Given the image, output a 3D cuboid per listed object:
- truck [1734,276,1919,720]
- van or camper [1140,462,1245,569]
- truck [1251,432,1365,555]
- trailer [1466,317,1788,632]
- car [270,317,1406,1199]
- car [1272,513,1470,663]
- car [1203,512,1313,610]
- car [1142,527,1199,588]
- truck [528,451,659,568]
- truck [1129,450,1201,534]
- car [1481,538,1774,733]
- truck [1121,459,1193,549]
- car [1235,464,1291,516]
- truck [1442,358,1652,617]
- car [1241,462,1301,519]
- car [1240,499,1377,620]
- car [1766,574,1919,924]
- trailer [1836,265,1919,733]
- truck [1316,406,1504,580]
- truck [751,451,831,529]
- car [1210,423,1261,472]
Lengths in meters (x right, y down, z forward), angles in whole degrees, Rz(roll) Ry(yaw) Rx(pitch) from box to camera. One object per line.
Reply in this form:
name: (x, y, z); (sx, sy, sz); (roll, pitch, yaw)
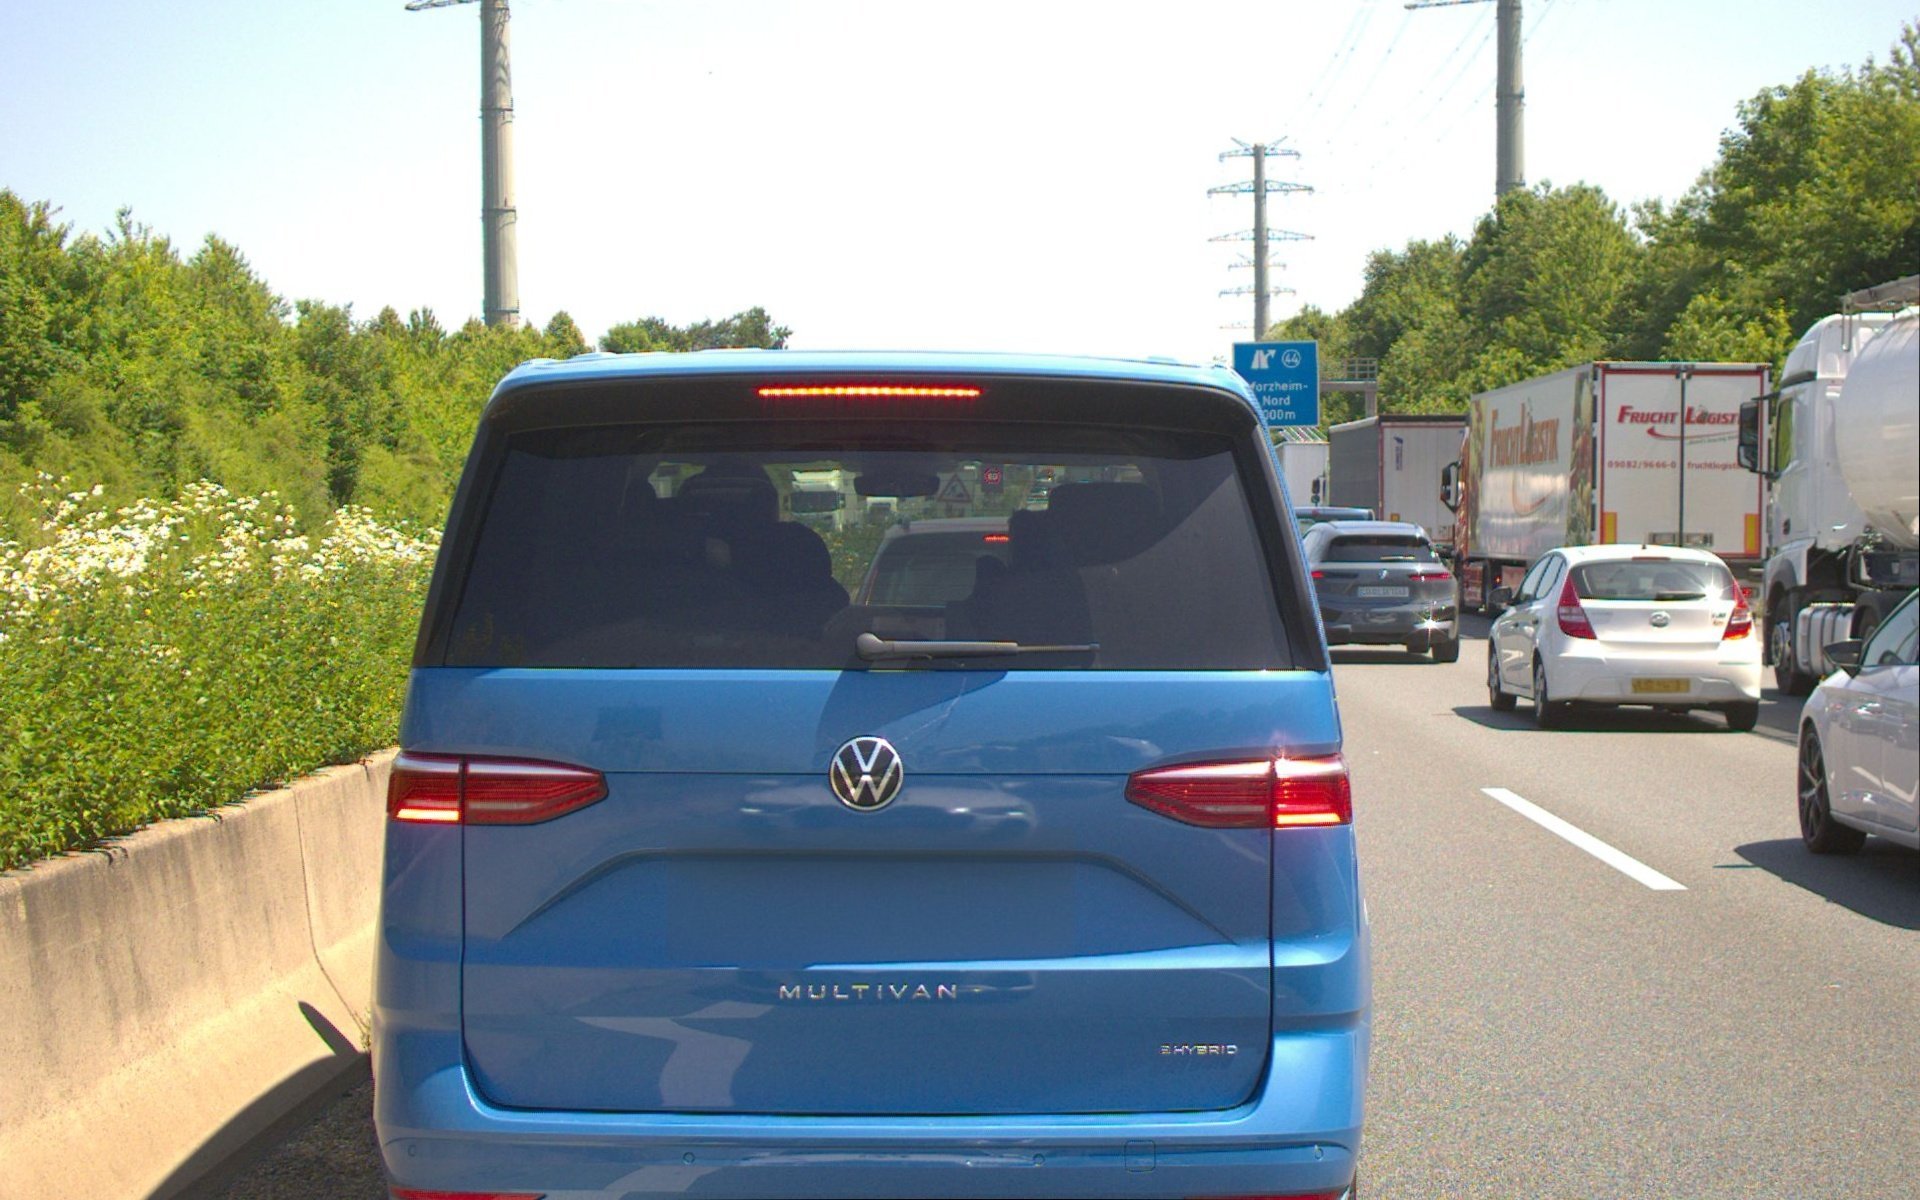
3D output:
truck: (9.312, -0.937, 32.412); (2.793, 3.823, 5.572); (-1, 1, 1)
van or camper: (6.817, -2.439, 101.683); (2.957, 3.011, 7.102); (-1, 1, 3)
truck: (11.447, -3.414, 114.188); (2.895, 3.753, 13.344); (-1, 1, 2)
trailer: (10.440, -1.877, 55.283); (2.912, 4.453, 12.154); (-1, 1, 1)
car: (-0.165, 0.427, 7.839); (1.920, 1.880, 4.000); (1, 1, 1)
car: (4.979, -0.147, 42.192); (1.999, 1.709, 4.625); (-1, 0, 2)
car: (6.156, -0.790, 71.404); (1.923, 1.919, 4.235); (-2, 0, 1)
car: (7.182, -1.441, 117.430); (1.836, 1.991, 4.000); (-2, 0, 3)
truck: (-12.525, -3.085, 118.569); (2.912, 3.806, 11.943); (1, 1, 1)
truck: (11.643, -6.103, 196.180); (3.566, 4.501, 10.293); (-1, 1, 1)
car: (5.484, 0.270, 28.698); (1.817, 1.480, 4.000); (-1, 0, 3)
truck: (8.578, -4.142, 150.546); (2.895, 3.753, 10.140); (-1, 1, 2)
car: (12.275, -4.440, 139.383); (1.993, 2.007, 4.000); (-1, 0, 2)
truck: (10.574, -1.997, 62.386); (2.912, 4.453, 5.142); (-1, 1, 1)
car: (11.688, -4.113, 129.577); (1.993, 2.007, 4.000); (-1, 0, 2)
car: (5.897, -0.668, 58.627); (1.923, 1.919, 4.235); (-2, 0, 1)
car: (4.838, 0.595, 14.999); (1.748, 1.438, 4.313); (-1, 0, 2)
trailer: (9.194, -0.801, 25.104); (2.761, 3.831, 11.486); (-1, 1, 1)
truck: (10.627, -2.408, 82.882); (3.006, 3.753, 15.712); (-1, 1, 2)
truck: (-8.507, -5.496, 174.249); (3.172, 3.806, 11.943); (1, 1, 1)
car: (12.048, -6.654, 150.464); (1.993, 2.007, 4.000); (-1, 0, 2)
